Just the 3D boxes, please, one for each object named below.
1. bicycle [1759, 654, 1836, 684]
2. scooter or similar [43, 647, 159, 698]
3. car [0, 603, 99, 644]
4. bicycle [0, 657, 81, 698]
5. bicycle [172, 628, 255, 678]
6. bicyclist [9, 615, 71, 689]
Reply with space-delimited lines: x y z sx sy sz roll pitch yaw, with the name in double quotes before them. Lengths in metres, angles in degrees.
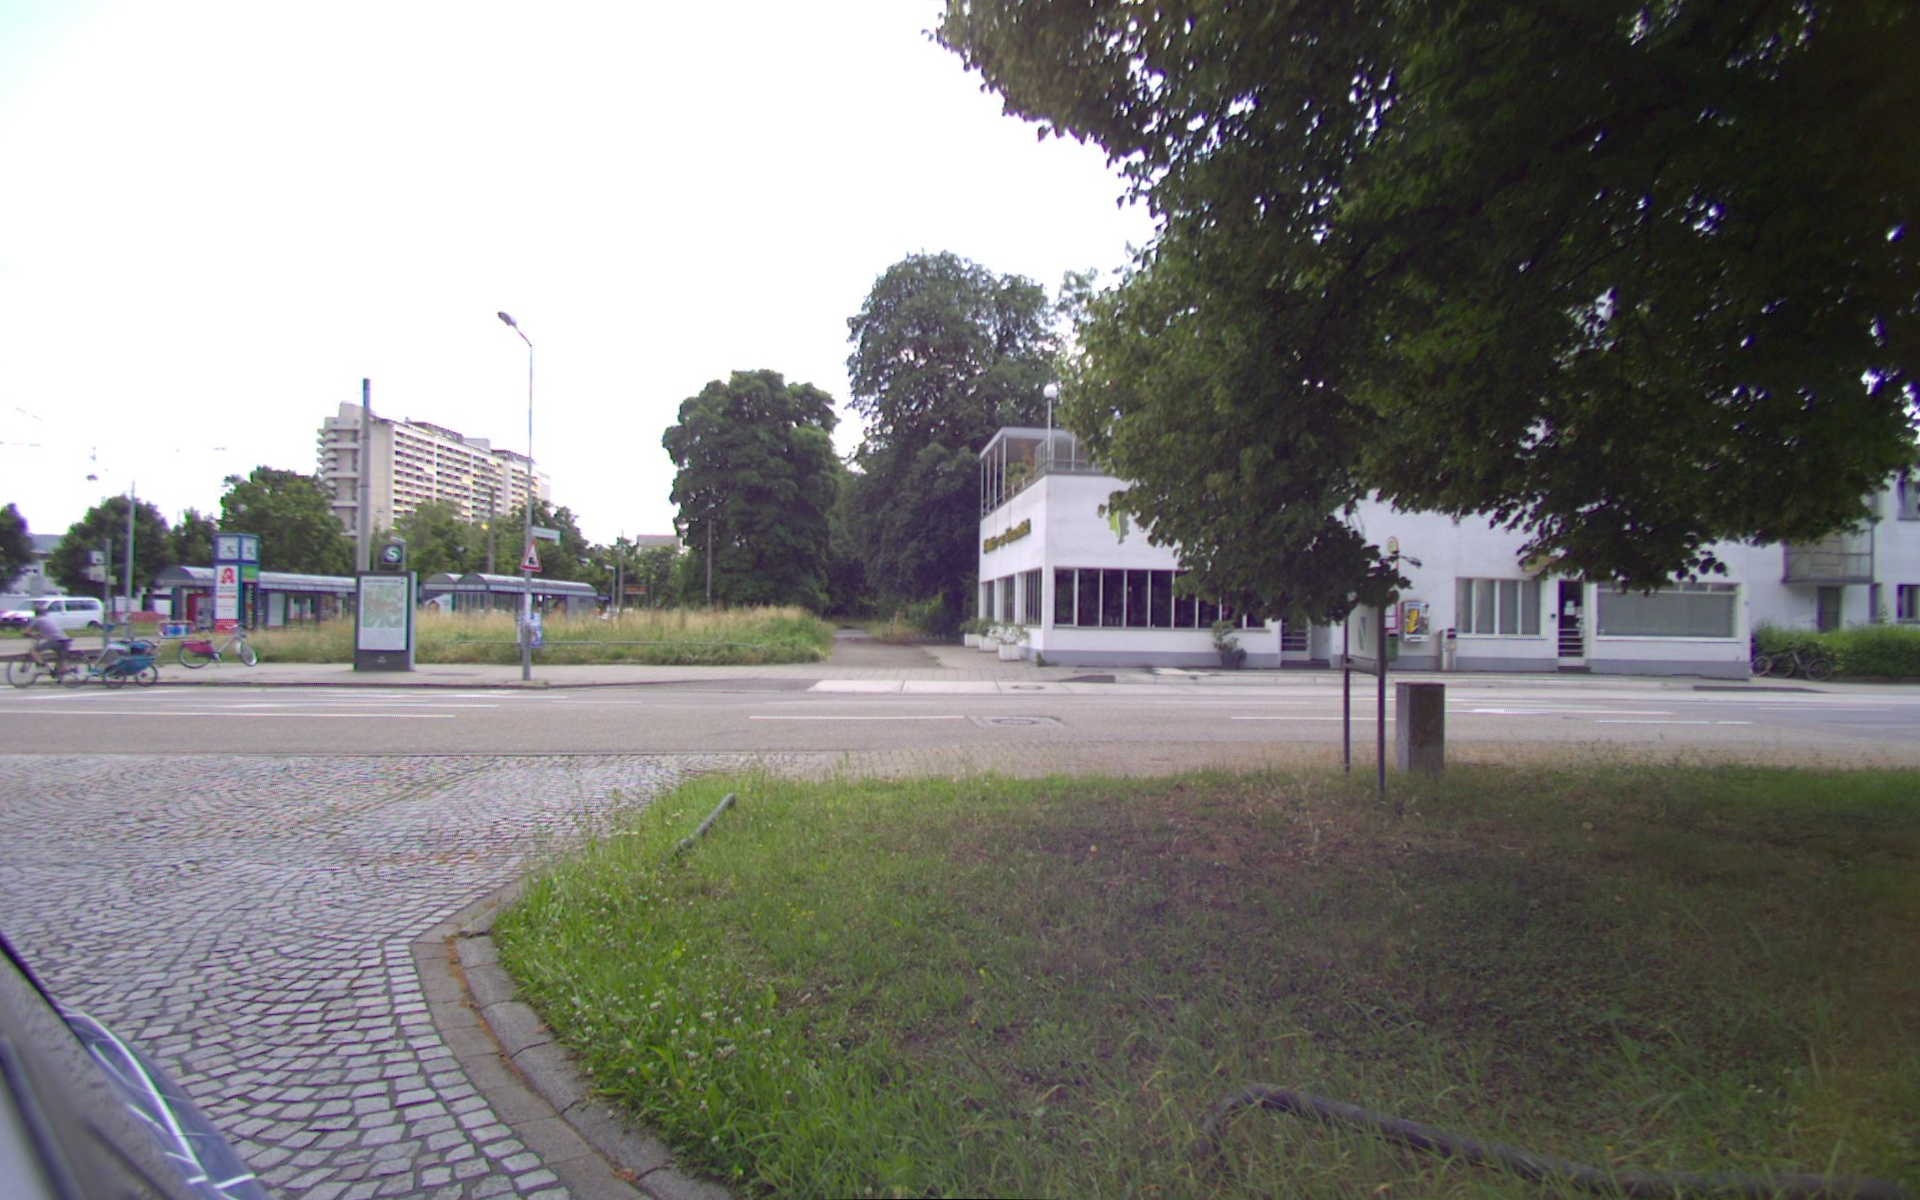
"bicycle" 23.900 1.958 28.906 0.404 0.763 1.680 1 -2 -24
"scooter or similar" -17.416 1.452 20.550 1.559 0.987 0.961 0 -2 4
"car" -47.577 1.186 52.260 1.973 2.029 4.829 0 -1 2
"bicycle" -19.057 1.573 20.698 1.705 0.771 0.554 1 -2 4
"bicycle" -18.584 1.302 25.235 1.633 1.141 0.703 -1 0 -34
"bicyclist" -18.812 1.055 20.700 0.831 1.486 0.455 1 -2 4
